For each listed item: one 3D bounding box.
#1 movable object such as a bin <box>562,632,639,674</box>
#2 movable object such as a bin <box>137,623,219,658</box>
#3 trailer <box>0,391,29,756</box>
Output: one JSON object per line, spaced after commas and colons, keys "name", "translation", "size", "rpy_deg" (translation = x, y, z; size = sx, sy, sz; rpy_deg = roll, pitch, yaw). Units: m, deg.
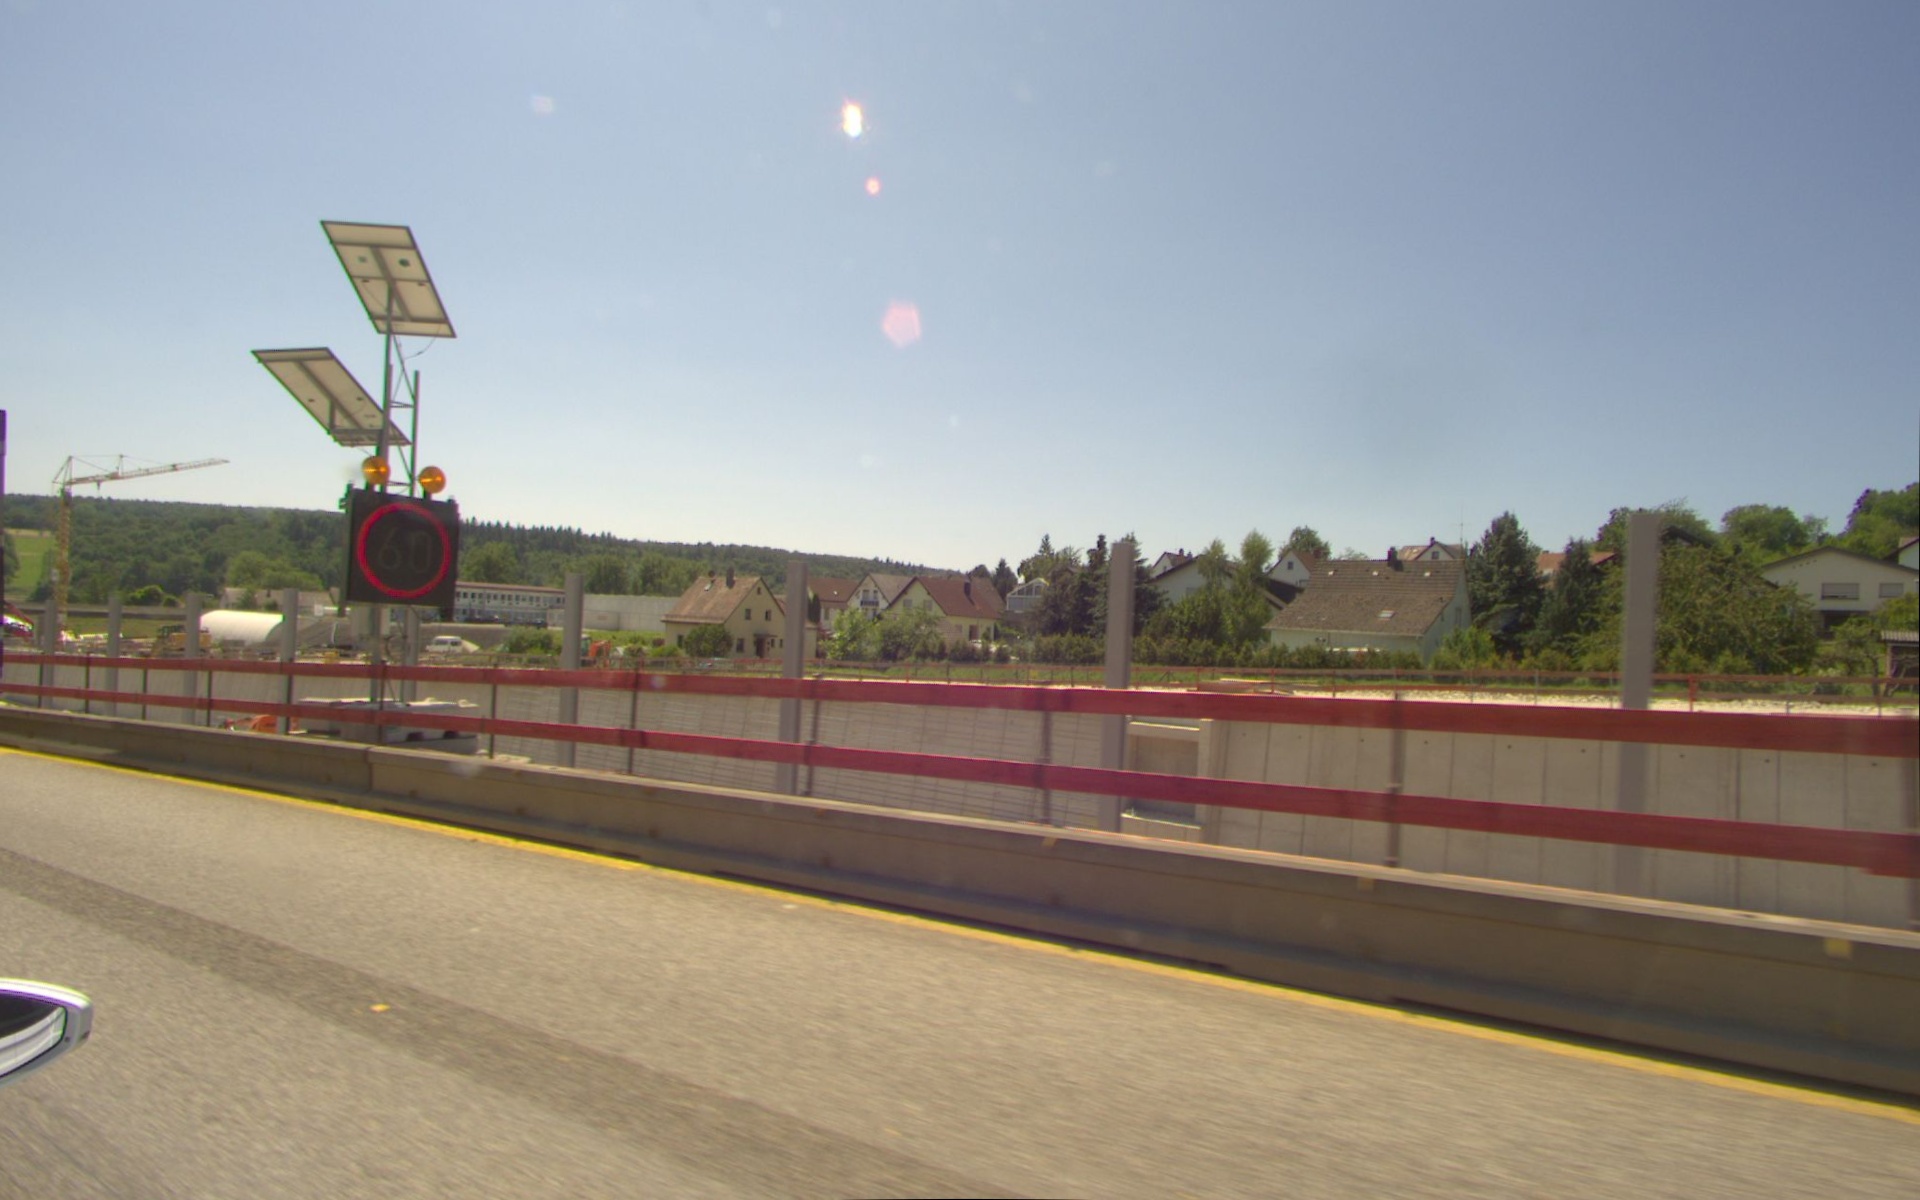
{"name": "movable object such as a bin", "translation": [-20.155, 2.913, 56.102], "size": [4.093, 2.267, 1.990], "rpy_deg": [-1, -2, 33]}
{"name": "movable object such as a bin", "translation": [-68.845, 3.546, 88.085], "size": [9.346, 2.946, 2.882], "rpy_deg": [-1, -2, 33]}
{"name": "trailer", "translation": [-17.312, -0.201, 14.021], "size": [13.915, 4.110, 2.797], "rpy_deg": [-1, -2, 32]}
